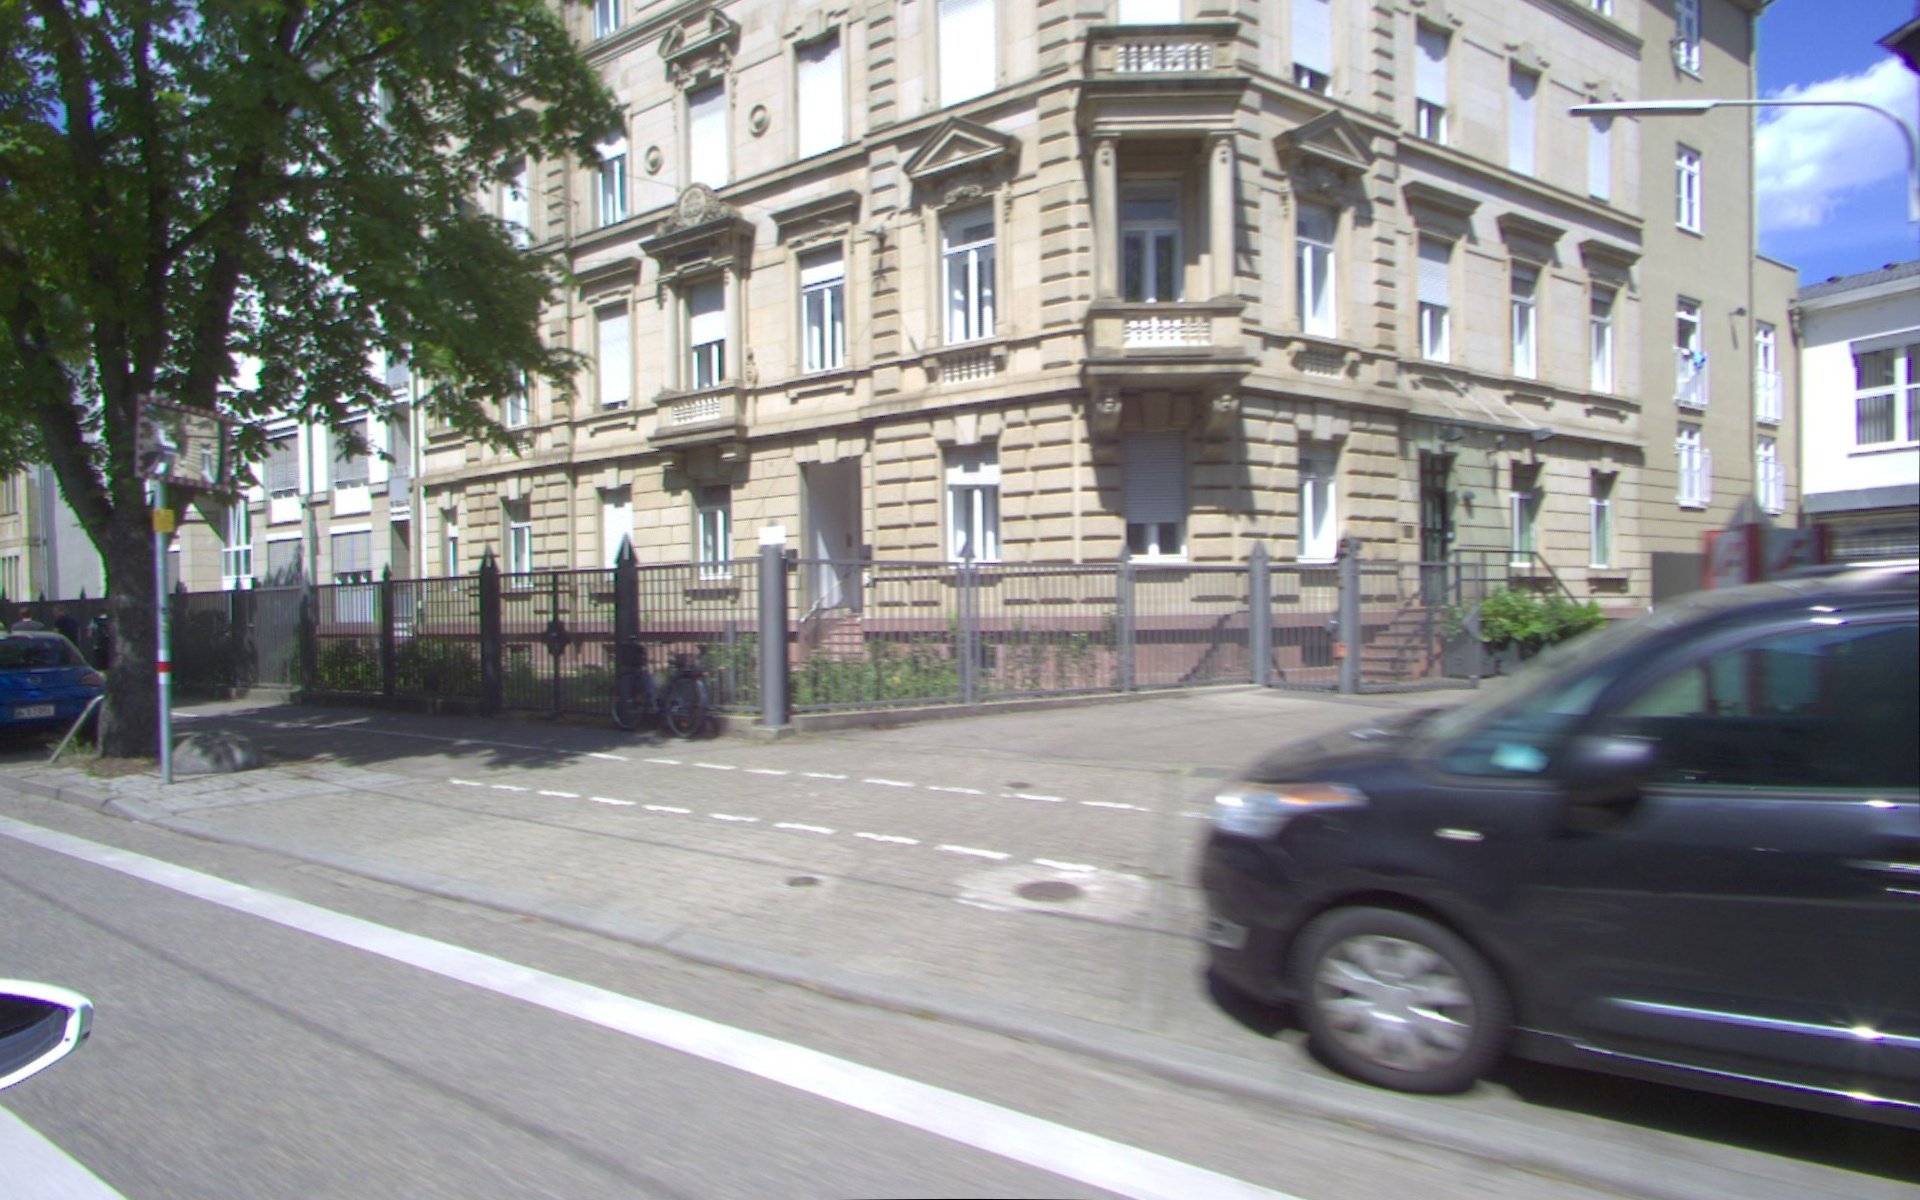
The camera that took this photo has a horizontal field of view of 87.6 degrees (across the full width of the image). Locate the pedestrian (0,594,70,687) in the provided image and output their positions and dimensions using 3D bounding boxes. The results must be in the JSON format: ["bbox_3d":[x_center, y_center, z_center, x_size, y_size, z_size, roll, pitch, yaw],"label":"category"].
[{"bbox_3d":[-18.185,0.778,19.661,1.037,1.785,0.786,0,0,32],"label":"pedestrian"}]

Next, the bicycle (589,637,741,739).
[{"bbox_3d":[-3.487,0.989,11.750,1.953,1.085,0.606,-1,0,34],"label":"bicycle"}]

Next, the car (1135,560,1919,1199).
[{"bbox_3d":[2.793,0.703,3.249,4.026,1.638,1.725,-1,2,33],"label":"car"}]

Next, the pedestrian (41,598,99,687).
[{"bbox_3d":[-18.719,0.878,21.064,0.963,1.835,0.659,0,0,32],"label":"pedestrian"}]

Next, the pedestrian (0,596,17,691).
[{"bbox_3d":[-18.626,0.823,19.092,0.933,1.800,0.703,0,0,32],"label":"pedestrian"}]

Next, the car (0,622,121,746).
[{"bbox_3d":[-12.847,1.046,13.252,3.423,1.472,1.688,-1,0,32],"label":"car"}]

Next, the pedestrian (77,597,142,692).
[{"bbox_3d":[-16.907,0.870,19.899,1.068,1.821,0.683,0,0,32],"label":"pedestrian"}]
